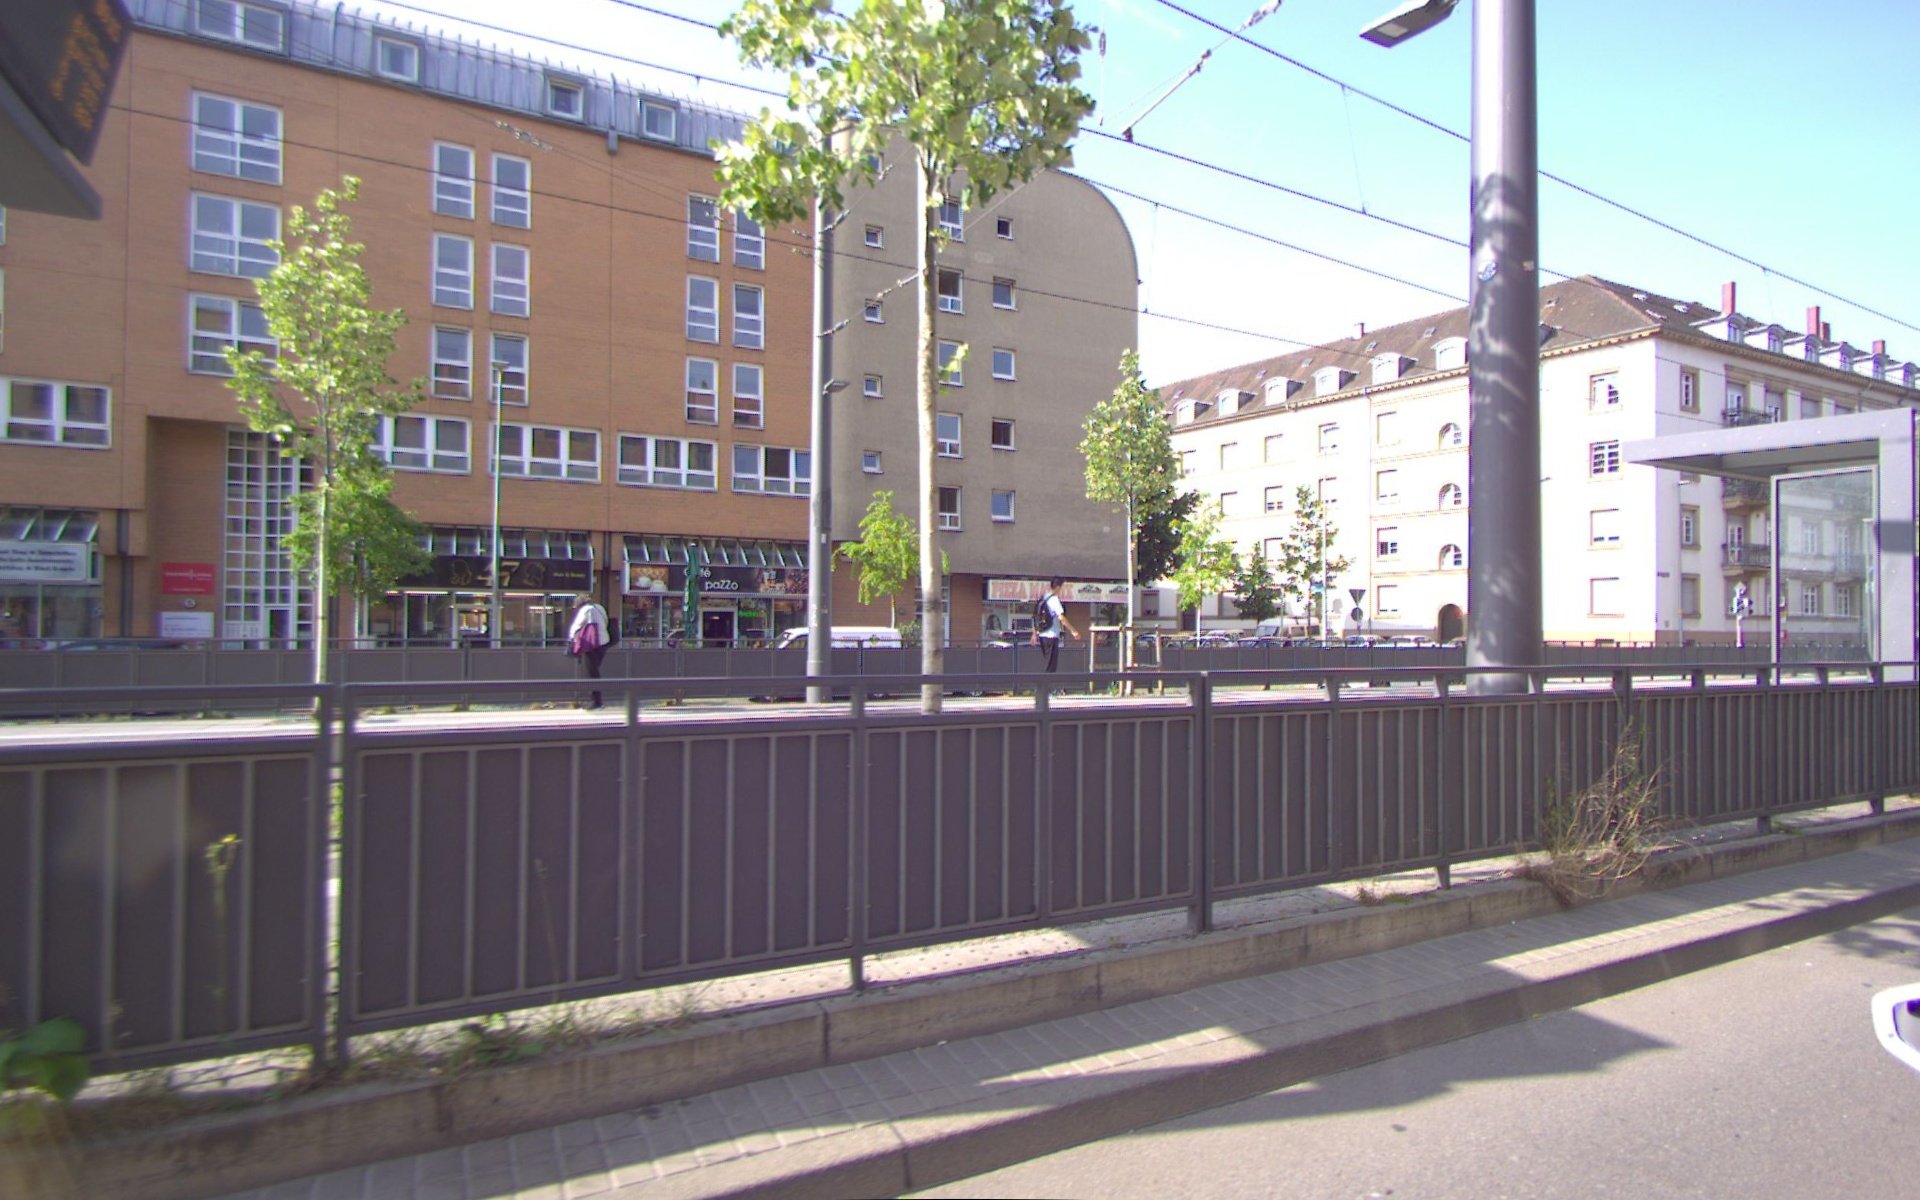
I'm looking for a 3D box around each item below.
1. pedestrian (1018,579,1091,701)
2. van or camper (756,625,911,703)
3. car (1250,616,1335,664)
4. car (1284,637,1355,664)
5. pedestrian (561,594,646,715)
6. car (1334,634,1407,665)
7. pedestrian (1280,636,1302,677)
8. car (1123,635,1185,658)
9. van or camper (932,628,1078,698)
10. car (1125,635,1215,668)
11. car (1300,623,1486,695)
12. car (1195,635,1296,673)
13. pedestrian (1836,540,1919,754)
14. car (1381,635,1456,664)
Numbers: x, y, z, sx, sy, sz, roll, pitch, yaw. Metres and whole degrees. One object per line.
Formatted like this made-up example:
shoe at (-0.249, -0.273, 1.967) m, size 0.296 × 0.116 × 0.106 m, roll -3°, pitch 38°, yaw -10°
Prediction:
pedestrian at (1.517, 0.642, 16.138) m, size 0.927 × 1.897 × 0.737 m, roll 1°, pitch -2°, yaw -25°
van or camper at (-3.543, 1.740, 28.032) m, size 3.943 × 2.040 × 1.989 m, roll 1°, pitch -2°, yaw -23°
car at (18.819, 2.245, 56.810) m, size 5.003 × 2.617 × 1.981 m, roll 1°, pitch -2°, yaw -35°
car at (19.507, 2.713, 54.512) m, size 3.884 × 1.434 × 1.663 m, roll 1°, pitch -2°, yaw -33°
pedestrian at (-4.757, 0.717, 13.421) m, size 0.666 × 1.551 × 0.810 m, roll 0°, pitch -2°, yaw 32°
car at (21.657, 2.594, 52.906) m, size 3.884 × 1.553 × 1.663 m, roll 1°, pitch -2°, yaw -33°
pedestrian at (12.997, 2.202, 39.460) m, size 0.792 × 1.604 × 0.680 m, roll 0°, pitch -1°, yaw 18°
car at (12.402, 2.948, 64.224) m, size 3.854 × 1.434 × 1.663 m, roll 1°, pitch -2°, yaw -33°
van or camper at (1.333, 1.839, 30.075) m, size 3.943 × 1.994 × 1.925 m, roll 1°, pitch -2°, yaw -23°
car at (10.174, 2.457, 48.623) m, size 3.953 × 1.528 × 1.984 m, roll 1°, pitch -2°, yaw -30°
car at (11.781, 1.569, 27.346) m, size 4.562 × 1.829 × 1.991 m, roll 1°, pitch -2°, yaw -21°
car at (12.617, 2.350, 44.338) m, size 4.505 × 1.620 × 1.754 m, roll 1°, pitch -2°, yaw -32°
pedestrian at (9.499, 0.455, 10.008) m, size 1.016 × 2.040 × 0.828 m, roll 2°, pitch 1°, yaw -31°
car at (23.314, 2.501, 51.032) m, size 3.957 × 1.424 × 1.663 m, roll 1°, pitch -2°, yaw -33°
